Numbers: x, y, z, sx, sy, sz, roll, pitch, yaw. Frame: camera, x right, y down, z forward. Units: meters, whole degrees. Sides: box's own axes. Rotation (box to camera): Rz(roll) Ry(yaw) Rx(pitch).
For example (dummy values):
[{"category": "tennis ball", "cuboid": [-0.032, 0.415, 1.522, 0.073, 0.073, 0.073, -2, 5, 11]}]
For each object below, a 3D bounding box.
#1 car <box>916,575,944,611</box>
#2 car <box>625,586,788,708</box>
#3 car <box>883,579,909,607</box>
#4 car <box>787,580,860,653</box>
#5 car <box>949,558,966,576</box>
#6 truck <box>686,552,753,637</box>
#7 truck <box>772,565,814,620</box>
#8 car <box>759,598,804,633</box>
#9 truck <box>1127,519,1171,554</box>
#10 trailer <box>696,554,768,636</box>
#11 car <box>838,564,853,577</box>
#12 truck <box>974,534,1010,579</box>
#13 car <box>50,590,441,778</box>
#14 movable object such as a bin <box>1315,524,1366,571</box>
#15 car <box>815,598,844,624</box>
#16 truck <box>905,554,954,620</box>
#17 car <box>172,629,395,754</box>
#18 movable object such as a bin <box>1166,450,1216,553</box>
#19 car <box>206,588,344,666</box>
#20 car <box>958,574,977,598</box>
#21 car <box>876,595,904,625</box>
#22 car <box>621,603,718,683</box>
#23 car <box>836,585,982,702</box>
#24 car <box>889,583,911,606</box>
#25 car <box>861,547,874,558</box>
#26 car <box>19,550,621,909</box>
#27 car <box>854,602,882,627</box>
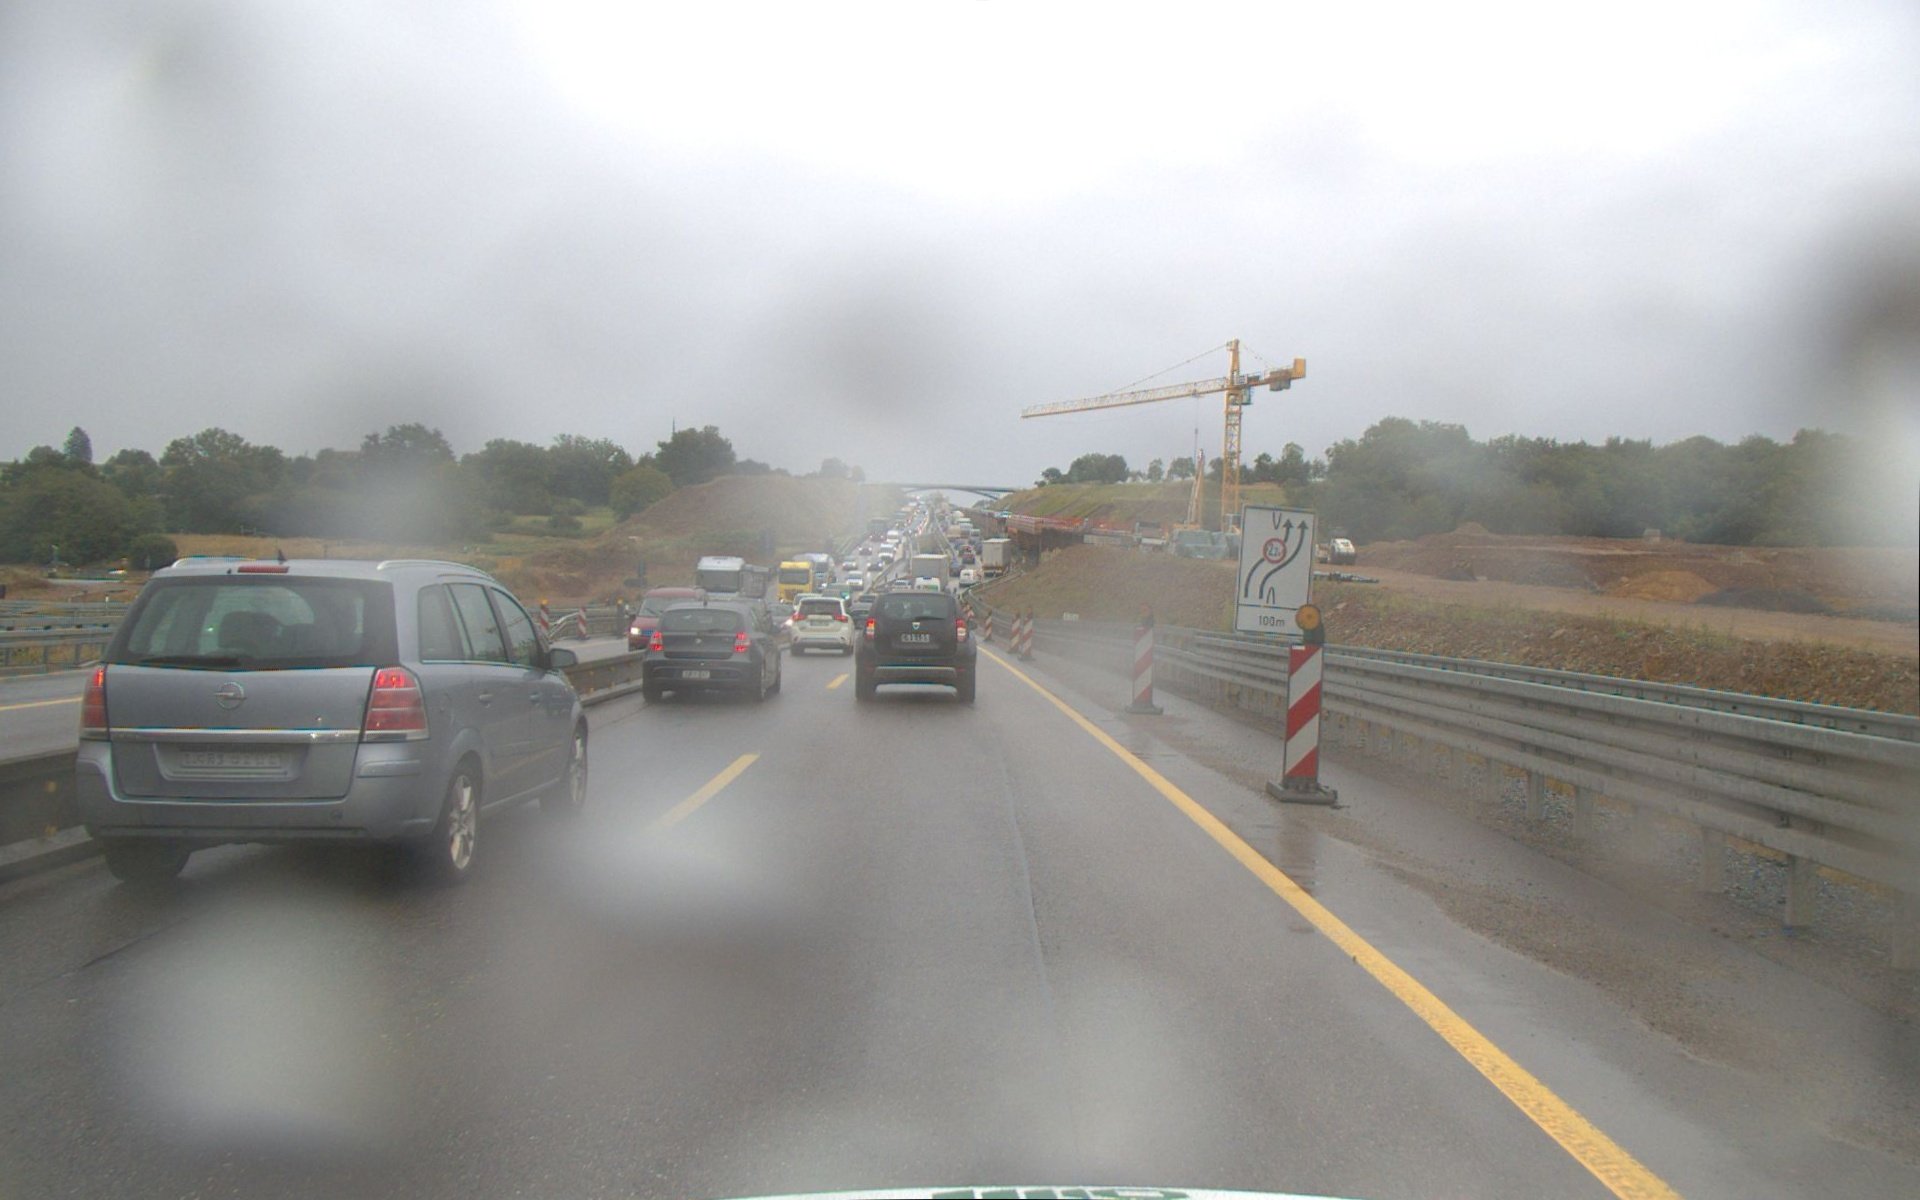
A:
[{"category": "car", "cuboid": [-2.207, -0.503, 121.726, 1.953, 2.527, 4.980, 1, 0, -1]}, {"category": "car", "cuboid": [-3.658, 0.640, 24.579, 1.954, 1.628, 4.138, 1, 0, -3]}, {"category": "car", "cuboid": [-5.231, -0.567, 135.215, 1.953, 2.200, 4.139, 1, 0, -1]}, {"category": "car", "cuboid": [-3.978, 0.477, 48.773, 1.953, 2.049, 3.892, 1, 0, -2]}, {"category": "car", "cuboid": [-0.310, -3.962, 199.096, 1.953, 2.048, 3.999, 0, 2, -2]}, {"category": "truck", "cuboid": [-11.677, -0.248, 80.636, 2.631, 3.996, 5.272, 0, 0, -2]}, {"category": "truck", "cuboid": [-12.990, -0.589, 129.211, 2.694, 4.133, 6.146, 1, 0, -2]}, {"category": "car", "cuboid": [-8.020, 0.684, 74.469, 1.675, 1.479, 3.999, 1, 0, -2]}, {"category": "truck", "cuboid": [15.916, -5.343, 139.752, 2.592, 2.599, 6.981, 1, 0, -2]}, {"category": "trailer", "cuboid": [-11.814, -0.248, 86.451, 2.631, 4.033, 9.816, 0, 0, -2]}, {"category": "car", "cuboid": [-14.429, -3.762, 208.111, 1.752, 1.573, 3.999, 1, 1, -2]}, {"category": "truck", "cuboid": [3.879, -5.259, 203.653, 3.727, 5.131, 12.915, 1, 0, -2]}, {"category": "car", "cuboid": [-6.659, 0.684, 16.024, 1.869, 1.474, 4.411, -1, 1, 0]}, {"category": "movable object such as a bin", "cuboid": [31.569, -4.299, 137.461, 2.295, 3.662, 6.554, 1, 0, -5]}, {"category": "car", "cuboid": [-9.329, 0.776, 118.580, 1.751, 1.837, 5.188, 0, 0, -2]}, {"category": "truck", "cuboid": [-2.626, -1.099, 144.610, 3.036, 5.521, 9.449, 1, 0, 6]}, {"category": "car", "cuboid": [-9.899, 1.285, 24.546, 1.783, 1.523, 3.999, 1, 1, -2]}, {"category": "movable object such as a bin", "cuboid": [26.207, -10.990, 187.261, 4.618, 11.032, 10.312, 1, 0, 13]}, {"category": "car", "cuboid": [-15.600, 0.573, 37.893, 1.810, 1.604, 4.265, -1, 1, -7]}, {"category": "car", "cuboid": [0.773, -1.454, 178.890, 1.953, 2.527, 4.740, 1, 0, -1]}, {"category": "car", "cuboid": [-5.262, 0.772, 124.866, 1.953, 2.200, 4.139, 1, 0, -1]}, {"category": "car", "cuboid": [-7.326, 1.033, 42.097, 1.809, 1.778, 4.842, -1, 1, -3]}, {"category": "car", "cuboid": [-0.754, 0.621, 25.448, 2.039, 1.628, 4.139, 1, 0, -1]}, {"category": "car", "cuboid": [-5.744, -0.515, 158.679, 1.953, 2.200, 4.139, 1, 0, -1]}, {"category": "car", "cuboid": [-13.927, -7.164, 248.897, 1.751, 1.565, 4.310, 1, 1, -2]}, {"category": "car", "cuboid": [-3.382, 0.606, 9.728, 1.953, 1.628, 4.139, 1, 0, -1]}, {"category": "car", "cuboid": [-6.947, 1.049, 124.862, 1.953, 1.790, 4.686, 1, 0, -2]}]
